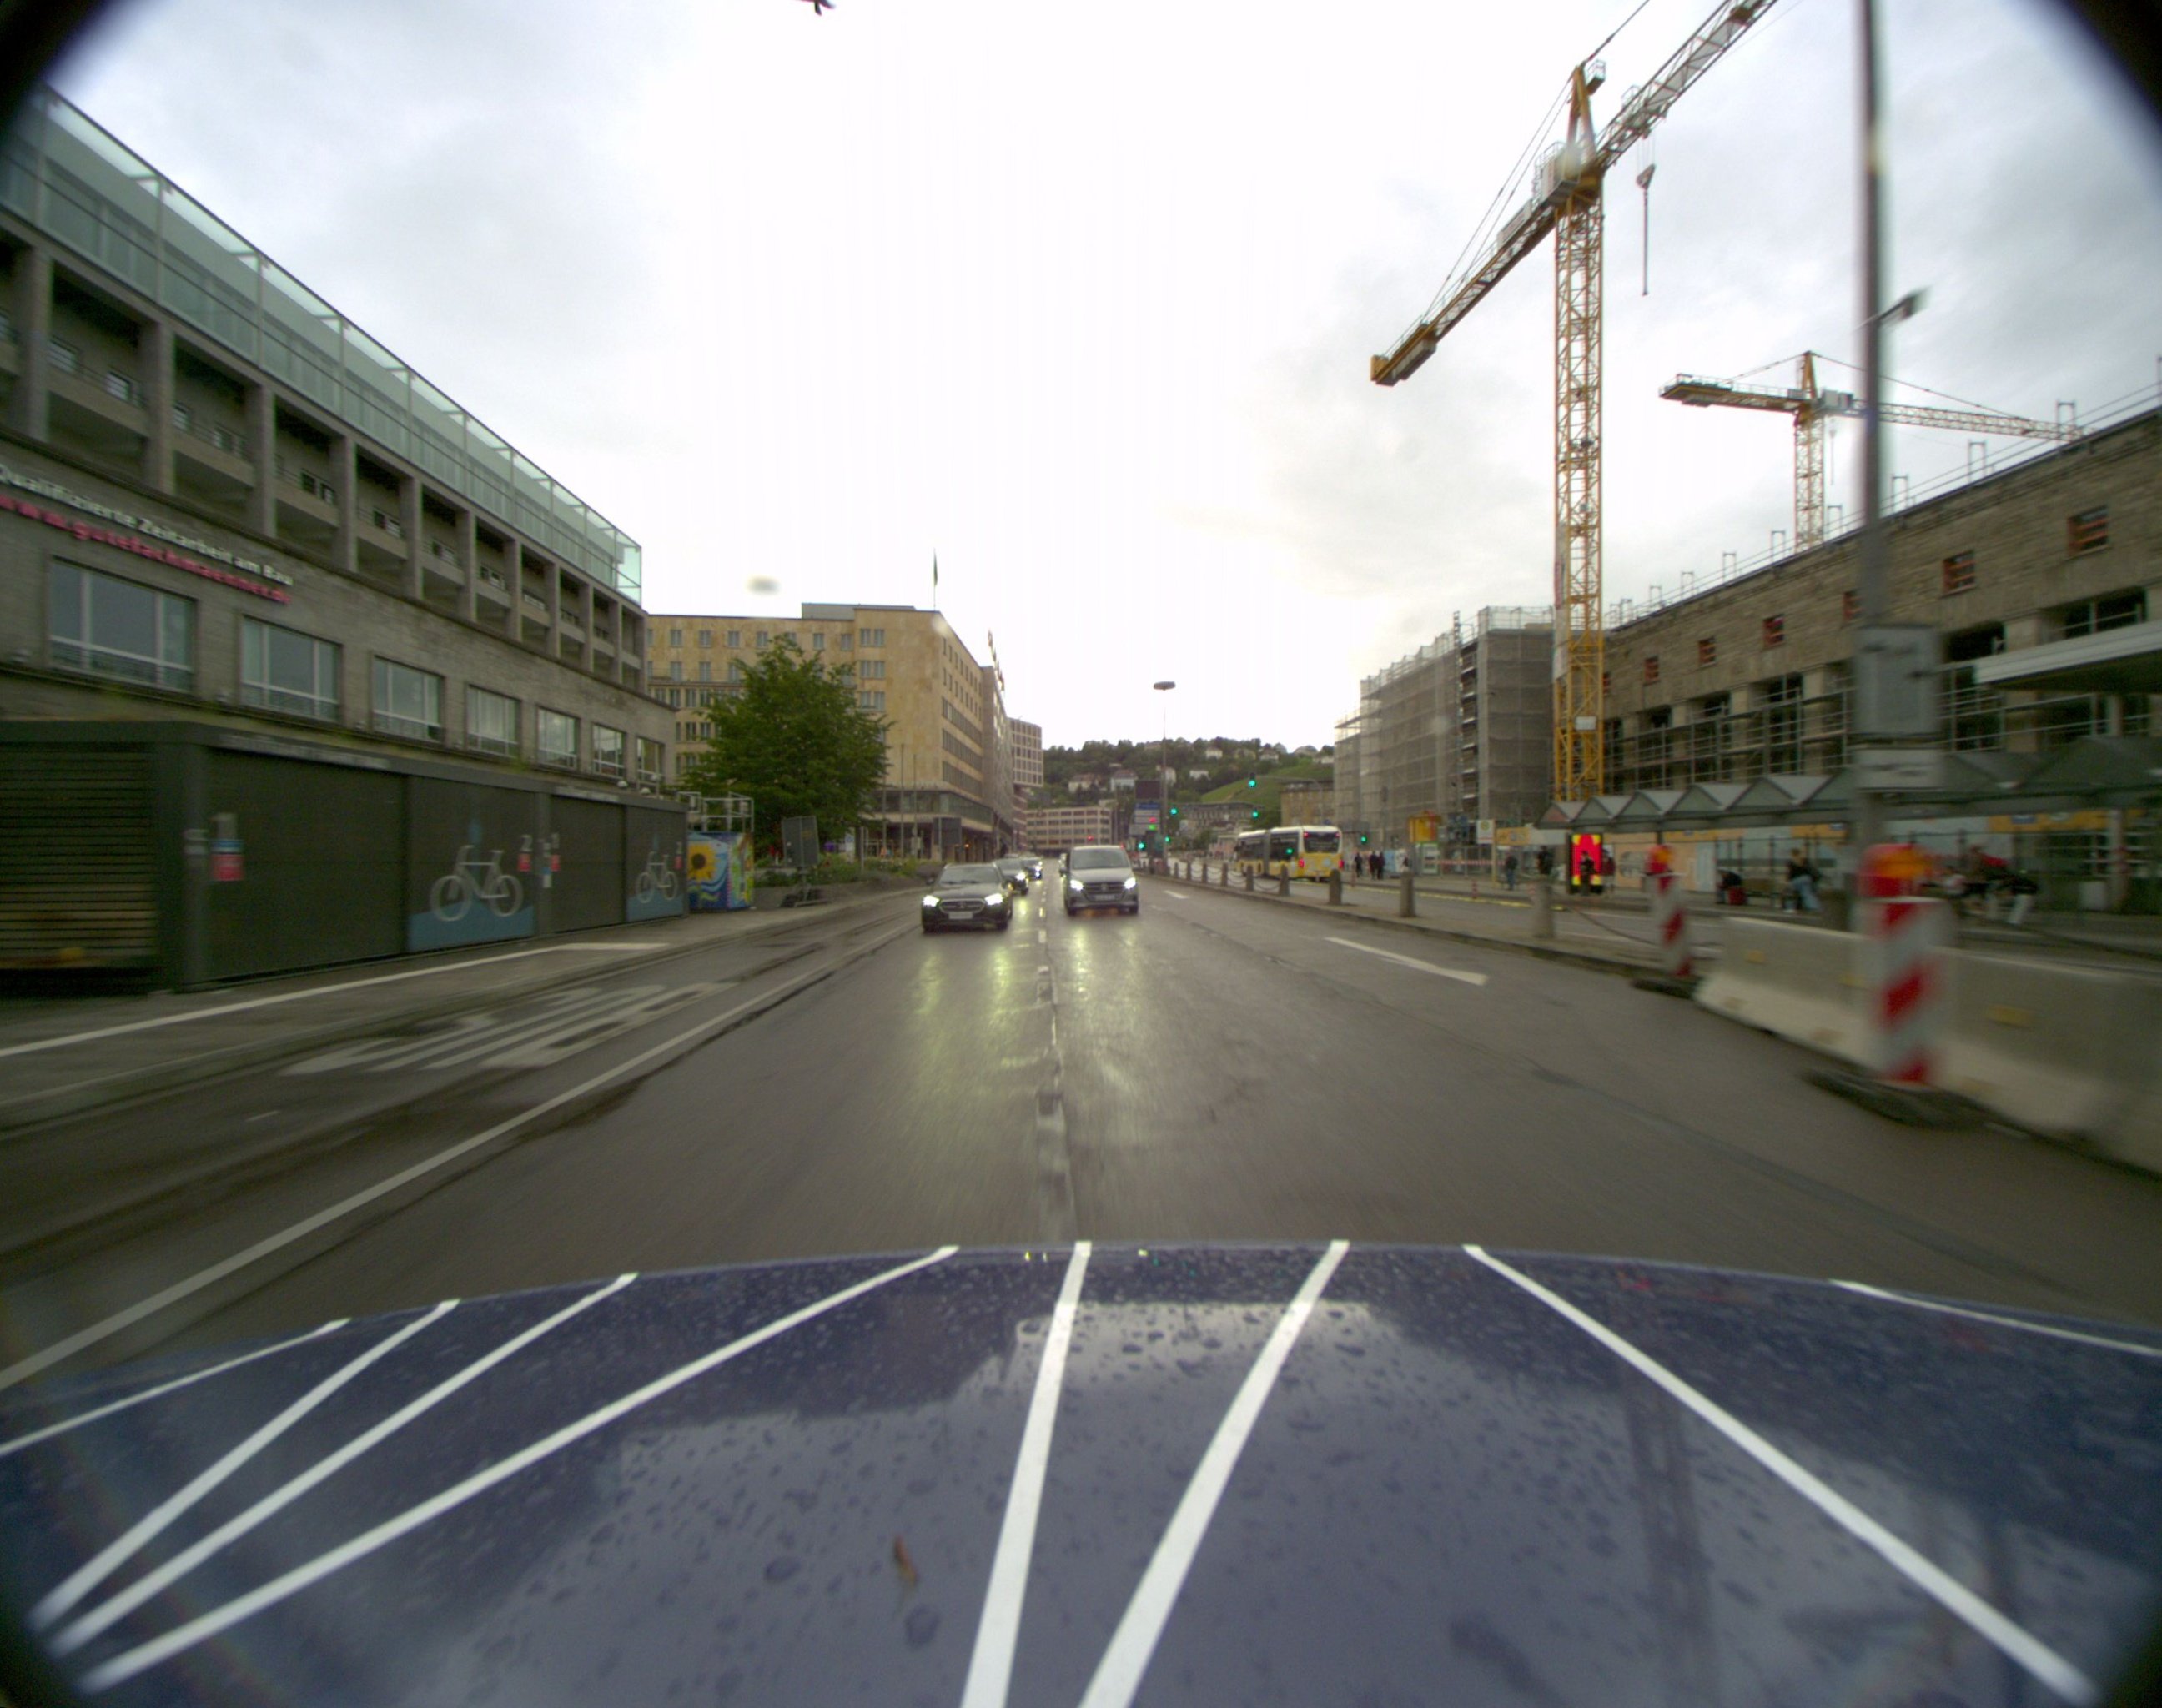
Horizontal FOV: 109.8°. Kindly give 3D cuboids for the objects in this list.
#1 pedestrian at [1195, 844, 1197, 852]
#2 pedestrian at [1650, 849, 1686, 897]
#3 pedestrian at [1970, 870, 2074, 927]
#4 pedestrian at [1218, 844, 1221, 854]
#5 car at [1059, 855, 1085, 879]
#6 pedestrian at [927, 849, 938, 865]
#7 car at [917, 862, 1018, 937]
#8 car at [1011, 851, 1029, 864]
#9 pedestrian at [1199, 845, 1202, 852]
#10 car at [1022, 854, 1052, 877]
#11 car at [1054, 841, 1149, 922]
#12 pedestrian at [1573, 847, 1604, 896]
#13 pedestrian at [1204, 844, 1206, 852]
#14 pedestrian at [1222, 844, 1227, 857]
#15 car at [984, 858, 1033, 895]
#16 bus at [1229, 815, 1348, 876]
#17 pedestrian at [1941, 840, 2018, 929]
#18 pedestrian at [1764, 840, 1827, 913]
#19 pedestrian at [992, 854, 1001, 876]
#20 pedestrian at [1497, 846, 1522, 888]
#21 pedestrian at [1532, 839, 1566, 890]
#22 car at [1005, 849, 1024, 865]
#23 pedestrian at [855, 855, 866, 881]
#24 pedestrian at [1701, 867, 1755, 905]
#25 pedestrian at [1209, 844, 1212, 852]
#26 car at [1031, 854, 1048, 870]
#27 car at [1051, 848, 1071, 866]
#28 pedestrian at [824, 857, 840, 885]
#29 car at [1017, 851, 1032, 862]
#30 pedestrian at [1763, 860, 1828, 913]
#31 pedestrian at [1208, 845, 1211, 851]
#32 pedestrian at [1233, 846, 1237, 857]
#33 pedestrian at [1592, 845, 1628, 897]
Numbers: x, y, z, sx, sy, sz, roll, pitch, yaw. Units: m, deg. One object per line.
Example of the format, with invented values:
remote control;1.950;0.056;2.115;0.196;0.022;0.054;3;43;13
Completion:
pedestrian;24.352;-1.304;161.072;0.438;1.606;0.413;-1;1;-1
pedestrian;20.335;0.661;26.331;0.558;1.621;0.804;-1;1;-11
pedestrian;20.289;0.947;16.406;0.952;1.151;1.054;-1;1;-3
pedestrian;22.845;-0.798;125.500;0.438;1.606;0.413;-1;1;-2
car;-0.763;1.009;60.225;1.872;1.747;3.900;-2;1;-3
pedestrian;-16.970;0.353;86.810;1.001;1.836;1.109;0;1;0
car;-2.581;0.974;18.348;1.823;1.455;4.699;-2;0;-2
car;-7.915;0.447;98.499;1.999;1.644;5.133;-1;0;-2
pedestrian;26.061;-1.291;165.600;0.438;1.492;0.413;-1;1;12
car;-3.140;0.805;54.916;1.999;1.549;3.907;-1;0;-2
car;0.405;0.667;21.148;1.999;1.893;5.248;-2;0;-5
pedestrian;18.877;0.640;28.274;0.558;1.780;0.804;-1;1;-11
pedestrian;24.490;-1.261;149.863;0.375;1.606;0.357;-1;1;-2
pedestrian;23.930;-0.586;126.514;0.593;2.022;0.686;-1;1;-2
car;-3.158;0.944;33.697;1.877;1.499;4.163;-1;0;-2
bus;13.906;-0.559;53.569;2.917;3.557;19.074;0;0;-1
pedestrian;18.550;0.612;15.705;0.672;1.780;0.783;-1;1;2
pedestrian;17.967;0.548;19.133;0.777;1.780;0.860;-1;1;4
pedestrian;-7.624;0.988;68.729;0.674;1.908;0.792;-1;1;-2
pedestrian;18.572;0.557;32.920;0.700;1.780;0.794;-1;1;9
pedestrian;18.134;0.402;29.447;0.761;1.947;0.822;-1;1;-6
car;-8.031;0.355;92.671;1.999;1.873;4.995;-1;0;-2
pedestrian;-14.955;0.936;51.513;0.536;1.780;0.681;-1;1;1
pedestrian;19.712;0.963;23.176;0.846;1.087;0.925;-1;1;-4
pedestrian;24.069;-1.120;141.265;0.438;1.344;0.413;-1;1;7
car;-4.644;0.848;84.734;1.763;1.582;3.841;-2;1;-2
car;-2.002;0.239;76.312;1.872;1.715;3.900;-2;1;-3
pedestrian;-15.851;1.065;48.379;0.699;1.741;0.836;-1;1;-5
car;-8.216;0.377;110.504;1.999;1.600;4.875;-1;0;-2
pedestrian;19.890;0.898;21.165;1.058;1.424;0.830;-1;1;-4
pedestrian;25.353;-1.117;149.940;0.438;1.233;0.413;-1;1;1
pedestrian;24.567;-0.415;121.097;0.517;1.745;0.463;-2;1;-2
pedestrian;18.584;0.585;26.689;0.726;1.780;0.747;-1;1;-9
